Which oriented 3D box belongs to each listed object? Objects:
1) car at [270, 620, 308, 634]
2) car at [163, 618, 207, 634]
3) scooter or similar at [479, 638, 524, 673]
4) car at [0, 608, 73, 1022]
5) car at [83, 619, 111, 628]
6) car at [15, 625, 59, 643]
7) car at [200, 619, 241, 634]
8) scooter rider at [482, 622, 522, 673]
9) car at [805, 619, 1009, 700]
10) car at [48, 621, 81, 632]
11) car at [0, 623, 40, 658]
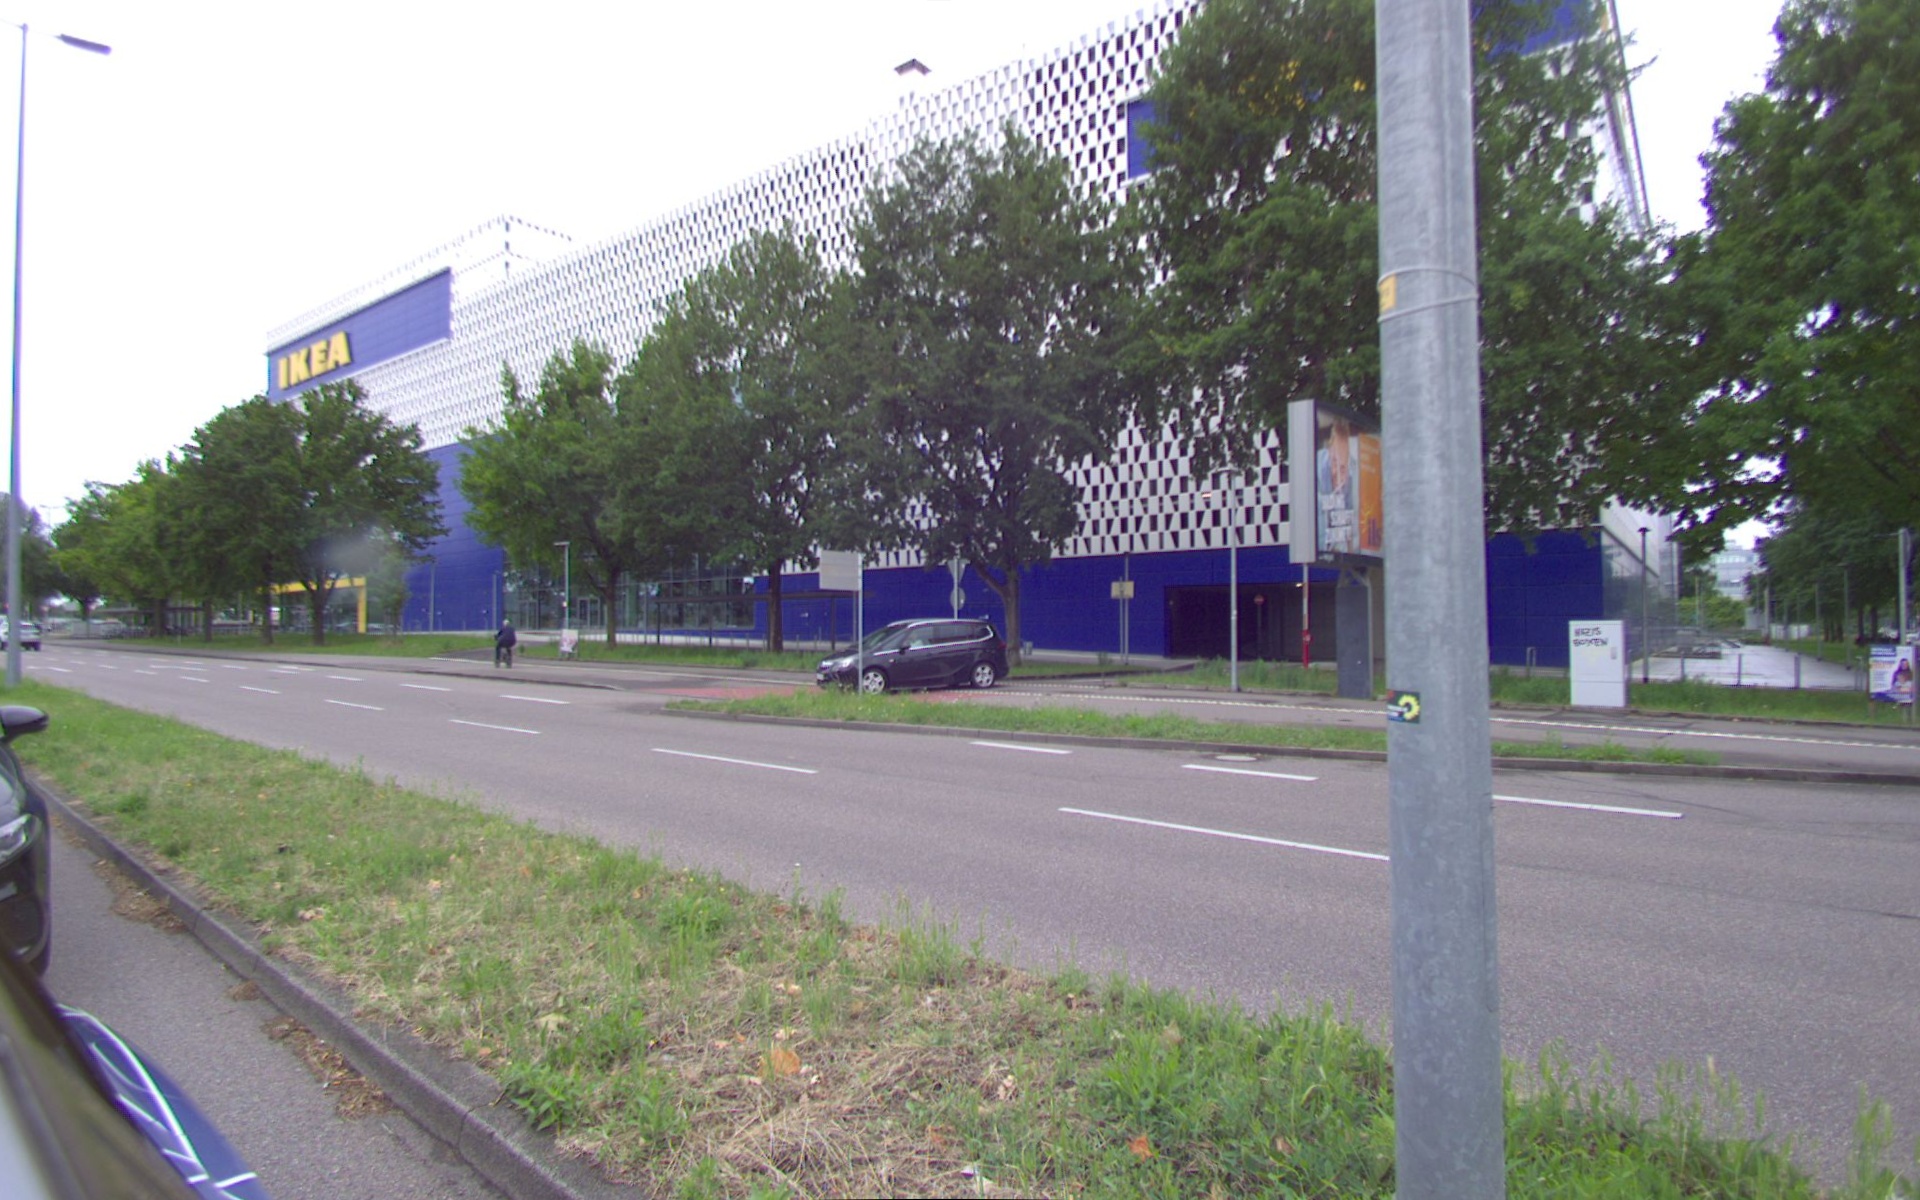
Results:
[{"bbox_3d":[-93.392,3.803,140.834,1.994,1.829,3.956,-1,0,33],"label":"car"},{"bbox_3d":[-86.302,2.872,112.736,1.741,1.652,3.522,-1,0,37],"label":"car"},{"bbox_3d":[-15.921,1.921,35.135,1.417,1.134,0.585,-1,2,24],"label":"scooter or similar"},{"bbox_3d":[-5.421,0.825,4.389,4.194,1.445,1.835,-2,-1,41],"label":"car"},{"bbox_3d":[-158.328,4.325,185.655,1.741,1.652,3.522,-1,0,37],"label":"car"},{"bbox_3d":[-118.389,4.341,129.811,1.998,2.029,3.948,-1,0,38],"label":"car"},{"bbox_3d":[-97.969,3.495,134.061,1.994,1.829,3.956,-1,0,33],"label":"car"},{"bbox_3d":[-15.884,1.624,35.125,1.033,1.733,0.791,-1,-1,24],"label":"scooter rider"},{"bbox_3d":[-1.194,1.292,23.187,4.287,1.668,1.854,0,-1,-31],"label":"car"},{"bbox_3d":[-161.066,4.716,181.972,1.741,1.837,4.239,-1,0,37],"label":"car"},{"bbox_3d":[-54.984,2.338,58.733,3.921,1.900,1.824,-1,0,39],"label":"car"}]
